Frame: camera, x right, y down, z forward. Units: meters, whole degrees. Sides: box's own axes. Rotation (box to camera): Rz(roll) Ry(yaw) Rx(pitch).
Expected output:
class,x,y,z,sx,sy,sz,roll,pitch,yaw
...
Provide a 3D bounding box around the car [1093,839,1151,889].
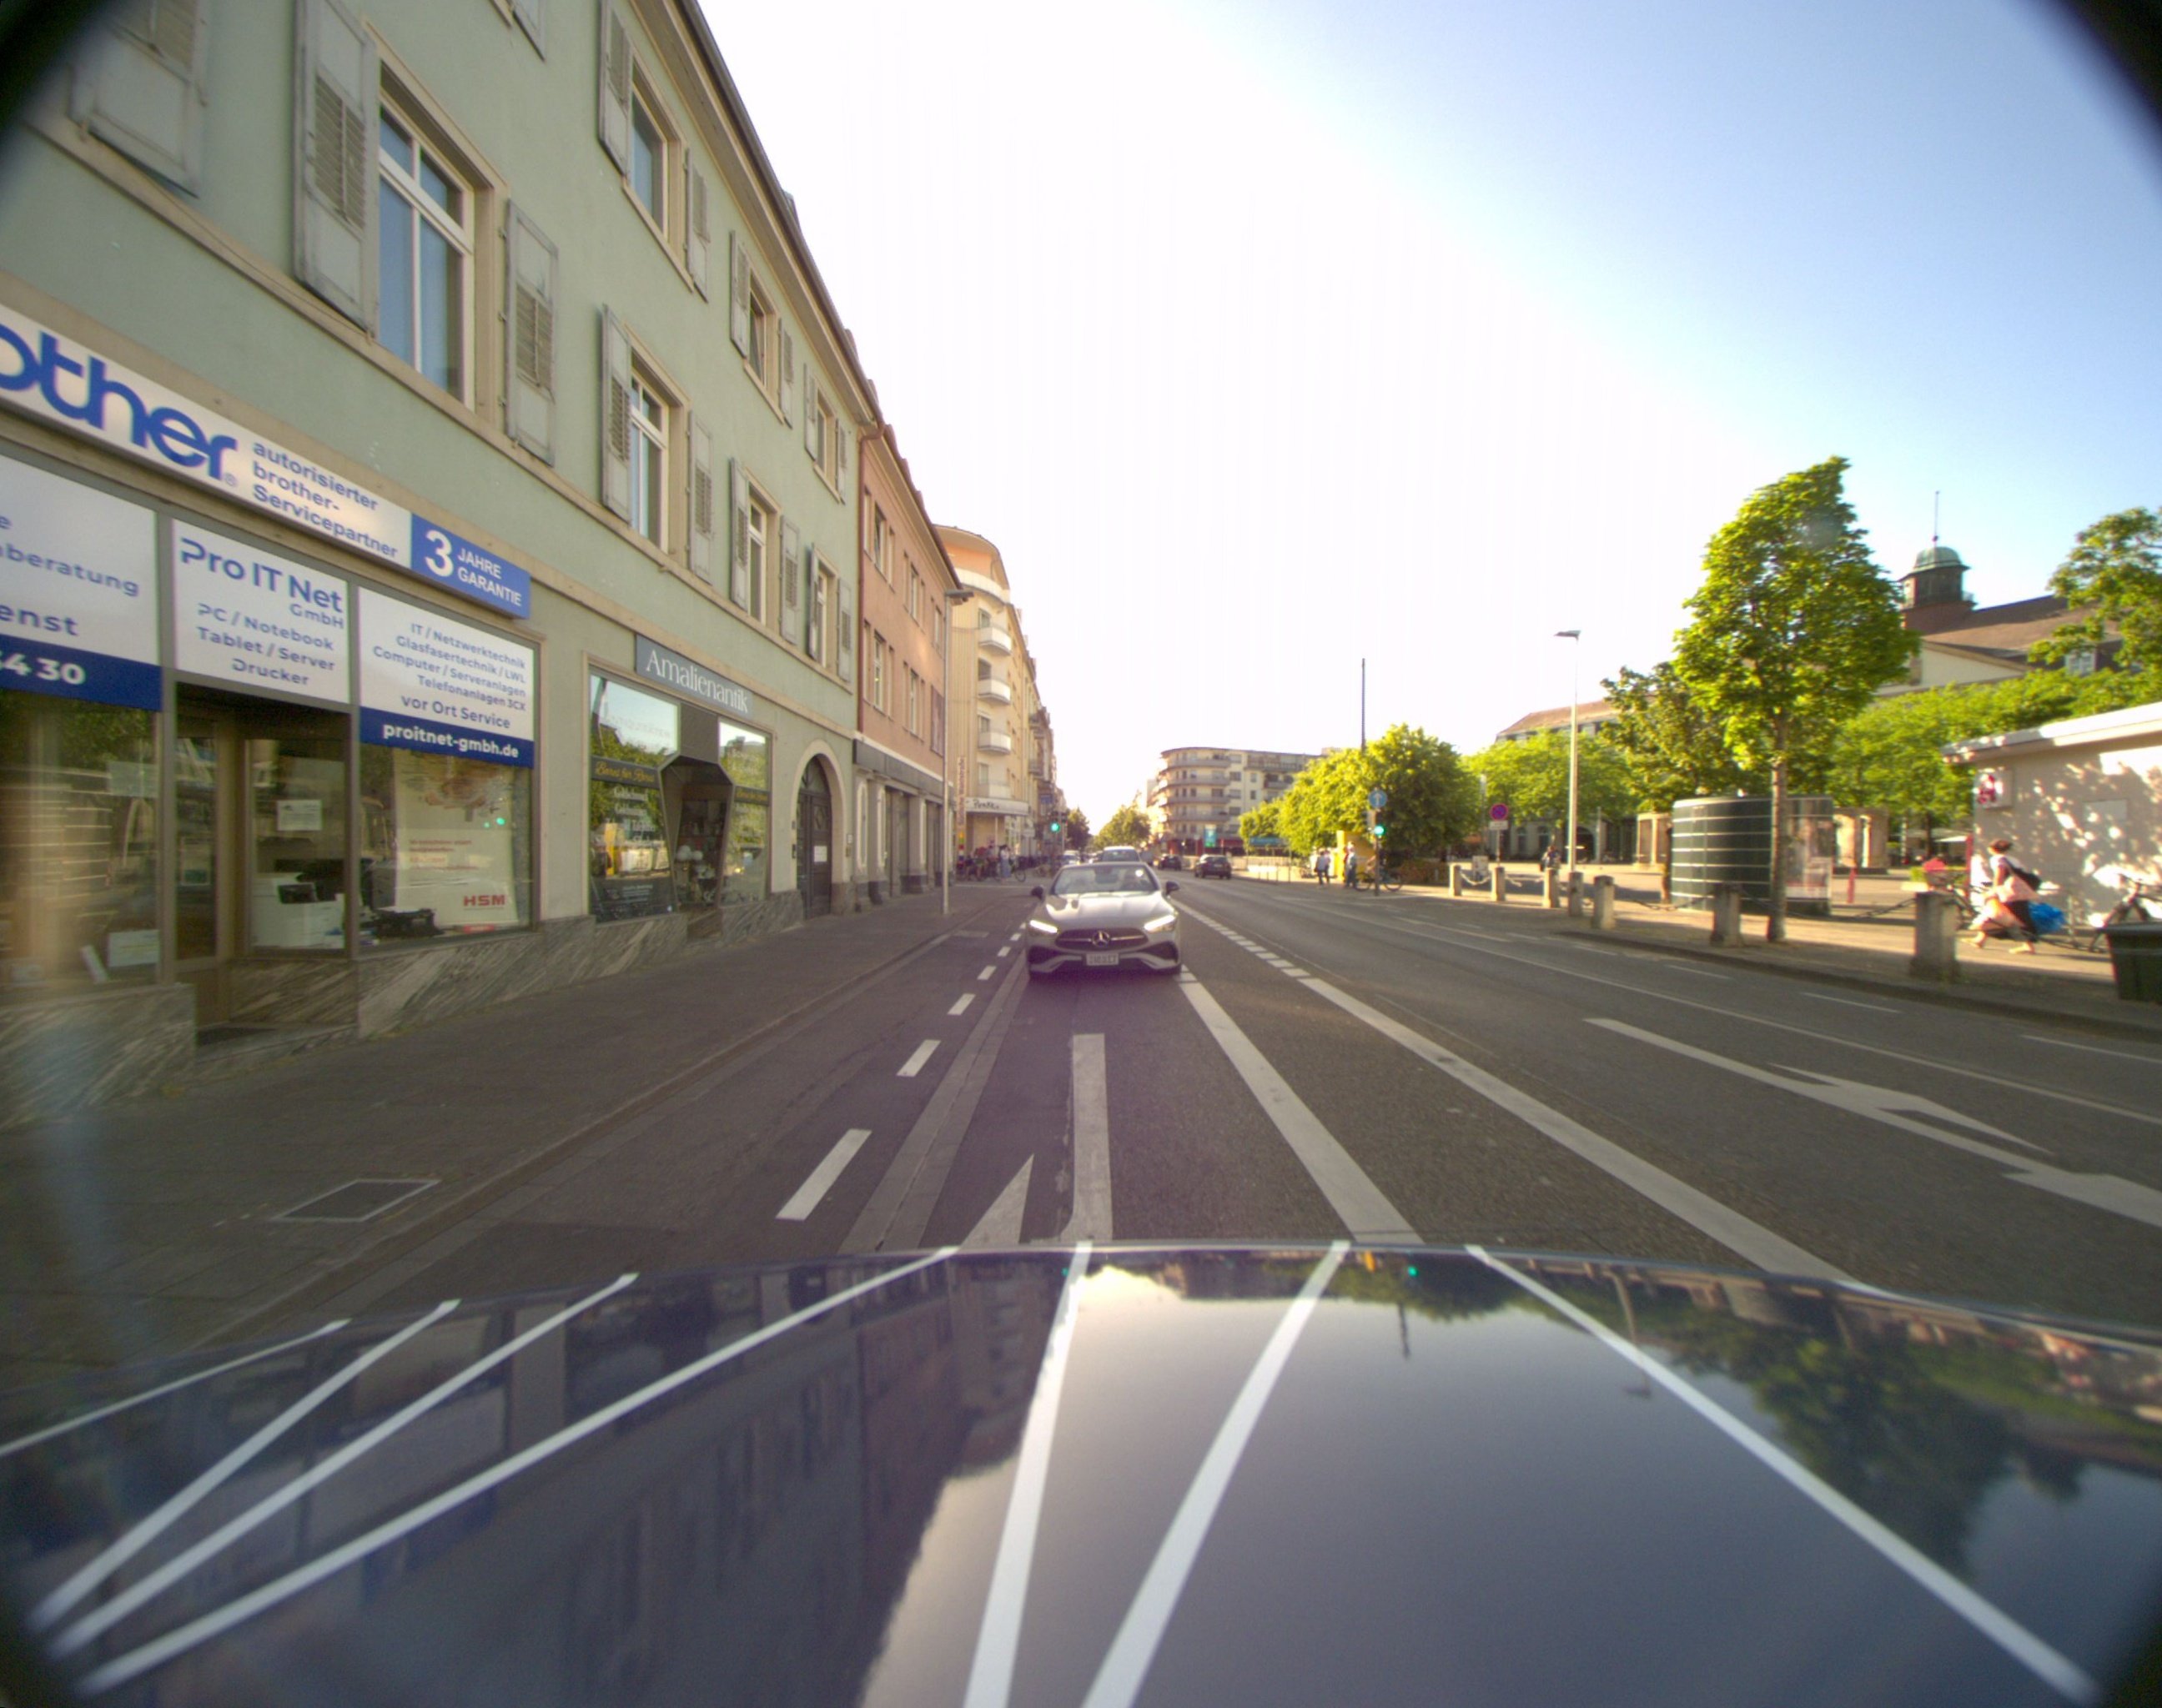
class,x,y,z,sx,sy,sz,roll,pitch,yaw
car,1.476,0.326,28.630,1.998,1.718,4.000,0,1,1

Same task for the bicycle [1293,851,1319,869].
class,x,y,z,sx,sy,sz,roll,pitch,yaw
bicycle,13.658,0.364,46.101,1.529,1.025,0.364,0,1,15

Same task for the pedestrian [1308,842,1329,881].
class,x,y,z,sx,sy,sz,roll,pitch,yaw
pedestrian,10.266,0.316,32.855,0.686,1.664,0.698,1,2,32

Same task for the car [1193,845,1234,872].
class,x,y,z,sx,sy,sz,roll,pitch,yaw
car,7.928,0.232,45.819,1.654,1.389,4.042,4,1,-1

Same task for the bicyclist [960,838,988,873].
class,x,y,z,sx,sy,sz,roll,pitch,yaw
bicyclist,-4.903,0.064,34.729,1.028,1.574,0.727,0,1,23

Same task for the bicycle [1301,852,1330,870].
class,x,y,z,sx,sy,sz,roll,pitch,yaw
bicycle,13.623,0.407,44.206,1.559,0.996,0.364,0,1,0

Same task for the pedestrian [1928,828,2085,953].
class,x,y,z,sx,sy,sz,roll,pitch,yaw
pedestrian,13.194,0.488,10.877,0.902,1.688,1.085,-1,1,-5

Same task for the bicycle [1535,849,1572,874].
class,x,y,z,sx,sy,sz,roll,pitch,yaw
bicycle,22.189,0.330,35.732,0.941,1.126,2.482,1,1,19

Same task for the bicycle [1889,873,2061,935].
class,x,y,z,sx,sy,sz,roll,pitch,yaw
bicycle,15.459,0.851,13.191,1.888,0.996,0.765,0,1,9

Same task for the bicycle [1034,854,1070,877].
class,x,y,z,sx,sy,sz,roll,pitch,yaw
bicycle,-1.594,0.637,41.572,1.946,1.205,0.932,0,1,-5

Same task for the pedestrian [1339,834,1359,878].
class,x,y,z,sx,sy,sz,roll,pitch,yaw
pedestrian,11.759,0.082,33.346,0.609,1.907,0.784,0,1,2

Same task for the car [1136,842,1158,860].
class,x,y,z,sx,sy,sz,roll,pitch,yaw
car,7.714,-0.397,89.241,1.999,1.936,4.782,3,1,0

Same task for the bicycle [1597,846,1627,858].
class,x,y,z,sx,sy,sz,roll,pitch,yaw
bicycle,47.160,-0.189,67.452,2.121,1.098,0.697,0,1,5

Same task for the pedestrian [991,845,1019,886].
class,x,y,z,sx,sy,sz,roll,pitch,yaw
pedestrian,-3.107,0.457,31.131,0.813,1.649,0.768,0,2,37

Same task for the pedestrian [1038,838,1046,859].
class,x,y,z,sx,sy,sz,roll,pitch,yaw
pedestrian,-3.636,-0.514,70.499,0.694,1.895,0.906,0,1,-2

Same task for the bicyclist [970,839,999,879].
class,x,y,z,sx,sy,sz,roll,pitch,yaw
bicyclist,-4.287,0.219,33.777,1.142,1.751,0.752,0,1,-21

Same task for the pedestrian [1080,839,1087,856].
class,x,y,z,sx,sy,sz,roll,pitch,yaw
pedestrian,0.257,-0.694,85.446,0.610,1.912,0.714,0,1,13

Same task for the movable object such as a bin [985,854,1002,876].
class,x,y,z,sx,sy,sz,roll,pitch,yaw
movable object such as a bin,-4.536,0.554,39.470,0.810,1.106,0.620,0,1,-1

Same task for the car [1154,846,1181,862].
class,x,y,z,sx,sy,sz,roll,pitch,yaw
car,7.694,-0.036,68.059,1.753,1.415,4.253,0,1,-2

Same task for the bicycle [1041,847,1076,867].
class,x,y,z,sx,sy,sz,roll,pitch,yaw
bicycle,-1.299,0.185,43.939,1.962,1.151,0.755,0,1,1

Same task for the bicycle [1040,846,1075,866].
class,x,y,z,sx,sy,sz,roll,pitch,yaw
bicycle,-1.413,0.120,45.251,2.026,1.143,0.715,1,1,1

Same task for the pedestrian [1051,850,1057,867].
class,x,y,z,sx,sy,sz,roll,pitch,yaw
pedestrian,-2.986,0.521,84.414,0.694,1.895,0.906,0,1,-2

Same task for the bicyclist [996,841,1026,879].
class,x,y,z,sx,sy,sz,roll,pitch,yaw
bicyclist,-3.171,0.250,34.398,1.129,1.675,0.727,1,1,28

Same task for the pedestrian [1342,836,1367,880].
class,x,y,z,sx,sy,sz,roll,pitch,yaw
pedestrian,11.460,0.152,31.858,0.590,1.801,0.782,-1,1,-25

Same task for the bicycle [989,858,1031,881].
class,x,y,z,sx,sy,sz,roll,pitch,yaw
bicycle,-3.248,0.681,34.596,1.910,1.014,0.561,0,1,28

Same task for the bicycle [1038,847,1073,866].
class,x,y,z,sx,sy,sz,roll,pitch,yaw
bicycle,-1.545,0.145,46.323,2.049,1.174,0.683,0,1,1

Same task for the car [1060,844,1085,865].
class,x,y,z,sx,sy,sz,roll,pitch,yaw
car,-0.744,0.014,63.103,1.999,1.725,4.197,0,1,-1

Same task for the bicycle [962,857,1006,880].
class,x,y,z,sx,sy,sz,roll,pitch,yaw
bicycle,-4.314,0.655,33.768,1.824,0.988,0.563,0,1,-21

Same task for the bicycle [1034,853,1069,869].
class,x,y,z,sx,sy,sz,roll,pitch,yaw
bicycle,-1.602,0.395,41.125,1.847,0.826,0.741,0,1,-5

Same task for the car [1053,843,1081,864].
class,x,y,z,sx,sy,sz,roll,pitch,yaw
car,-0.917,-0.057,52.731,1.693,1.390,4.000,0,1,2

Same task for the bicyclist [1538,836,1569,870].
class,x,y,z,sx,sy,sz,roll,pitch,yaw
bicyclist,22.175,-0.061,35.685,0.941,1.599,1.172,1,1,19

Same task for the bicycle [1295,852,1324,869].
class,x,y,z,sx,sy,sz,roll,pitch,yaw
bicycle,13.431,0.386,44.691,1.549,1.025,0.364,0,1,0

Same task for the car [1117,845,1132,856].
class,x,y,z,sx,sy,sz,roll,pitch,yaw
car,6.353,-0.519,111.575,1.846,1.538,4.239,2,1,-1

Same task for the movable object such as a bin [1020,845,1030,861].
class,x,y,z,sx,sy,sz,roll,pitch,yaw
movable object such as a bin,-4.193,-0.084,56.826,0.703,1.154,0.960,0,1,1

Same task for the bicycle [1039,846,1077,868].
class,x,y,z,sx,sy,sz,roll,pitch,yaw
bicycle,-1.292,0.163,42.672,2.142,1.237,0.710,0,1,-4

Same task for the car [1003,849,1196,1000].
class,x,y,z,sx,sy,sz,roll,pitch,yaw
car,0.274,0.706,9.860,1.910,1.454,4.364,-2,1,2

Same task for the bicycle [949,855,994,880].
class,x,y,z,sx,sy,sz,roll,pitch,yaw
bicycle,-5.020,0.600,34.800,1.915,1.090,0.734,0,1,22

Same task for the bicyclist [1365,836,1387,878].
class,x,y,z,sx,sy,sz,roll,pitch,yaw
bicyclist,11.621,0.100,29.920,0.803,1.639,0.995,0,1,23

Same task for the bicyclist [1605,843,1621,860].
class,x,y,z,sx,sy,sz,roll,pitch,yaw
bicyclist,47.220,-0.198,67.453,0.951,1.463,0.647,0,1,6

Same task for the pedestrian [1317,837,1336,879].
class,x,y,z,sx,sy,sz,roll,pitch,yaw
pedestrian,10.808,0.159,33.419,0.650,1.847,0.626,1,2,32

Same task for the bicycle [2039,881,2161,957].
class,x,y,z,sx,sy,sz,roll,pitch,yaw
bicycle,14.943,0.894,10.627,1.888,0.996,0.765,0,1,9

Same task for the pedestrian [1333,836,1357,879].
class,x,y,z,sx,sy,sz,roll,pitch,yaw
pedestrian,11.356,0.141,32.662,0.590,1.801,0.781,-1,2,-43

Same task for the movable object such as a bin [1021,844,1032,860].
class,x,y,z,sx,sy,sz,roll,pitch,yaw
movable object such as a bin,-4.191,-0.145,58.593,0.703,1.232,0.960,0,1,1

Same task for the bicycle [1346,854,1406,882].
class,x,y,z,sx,sy,sz,roll,pitch,yaw
bicycle,11.621,0.554,29.967,2.171,1.066,0.765,-1,1,22
